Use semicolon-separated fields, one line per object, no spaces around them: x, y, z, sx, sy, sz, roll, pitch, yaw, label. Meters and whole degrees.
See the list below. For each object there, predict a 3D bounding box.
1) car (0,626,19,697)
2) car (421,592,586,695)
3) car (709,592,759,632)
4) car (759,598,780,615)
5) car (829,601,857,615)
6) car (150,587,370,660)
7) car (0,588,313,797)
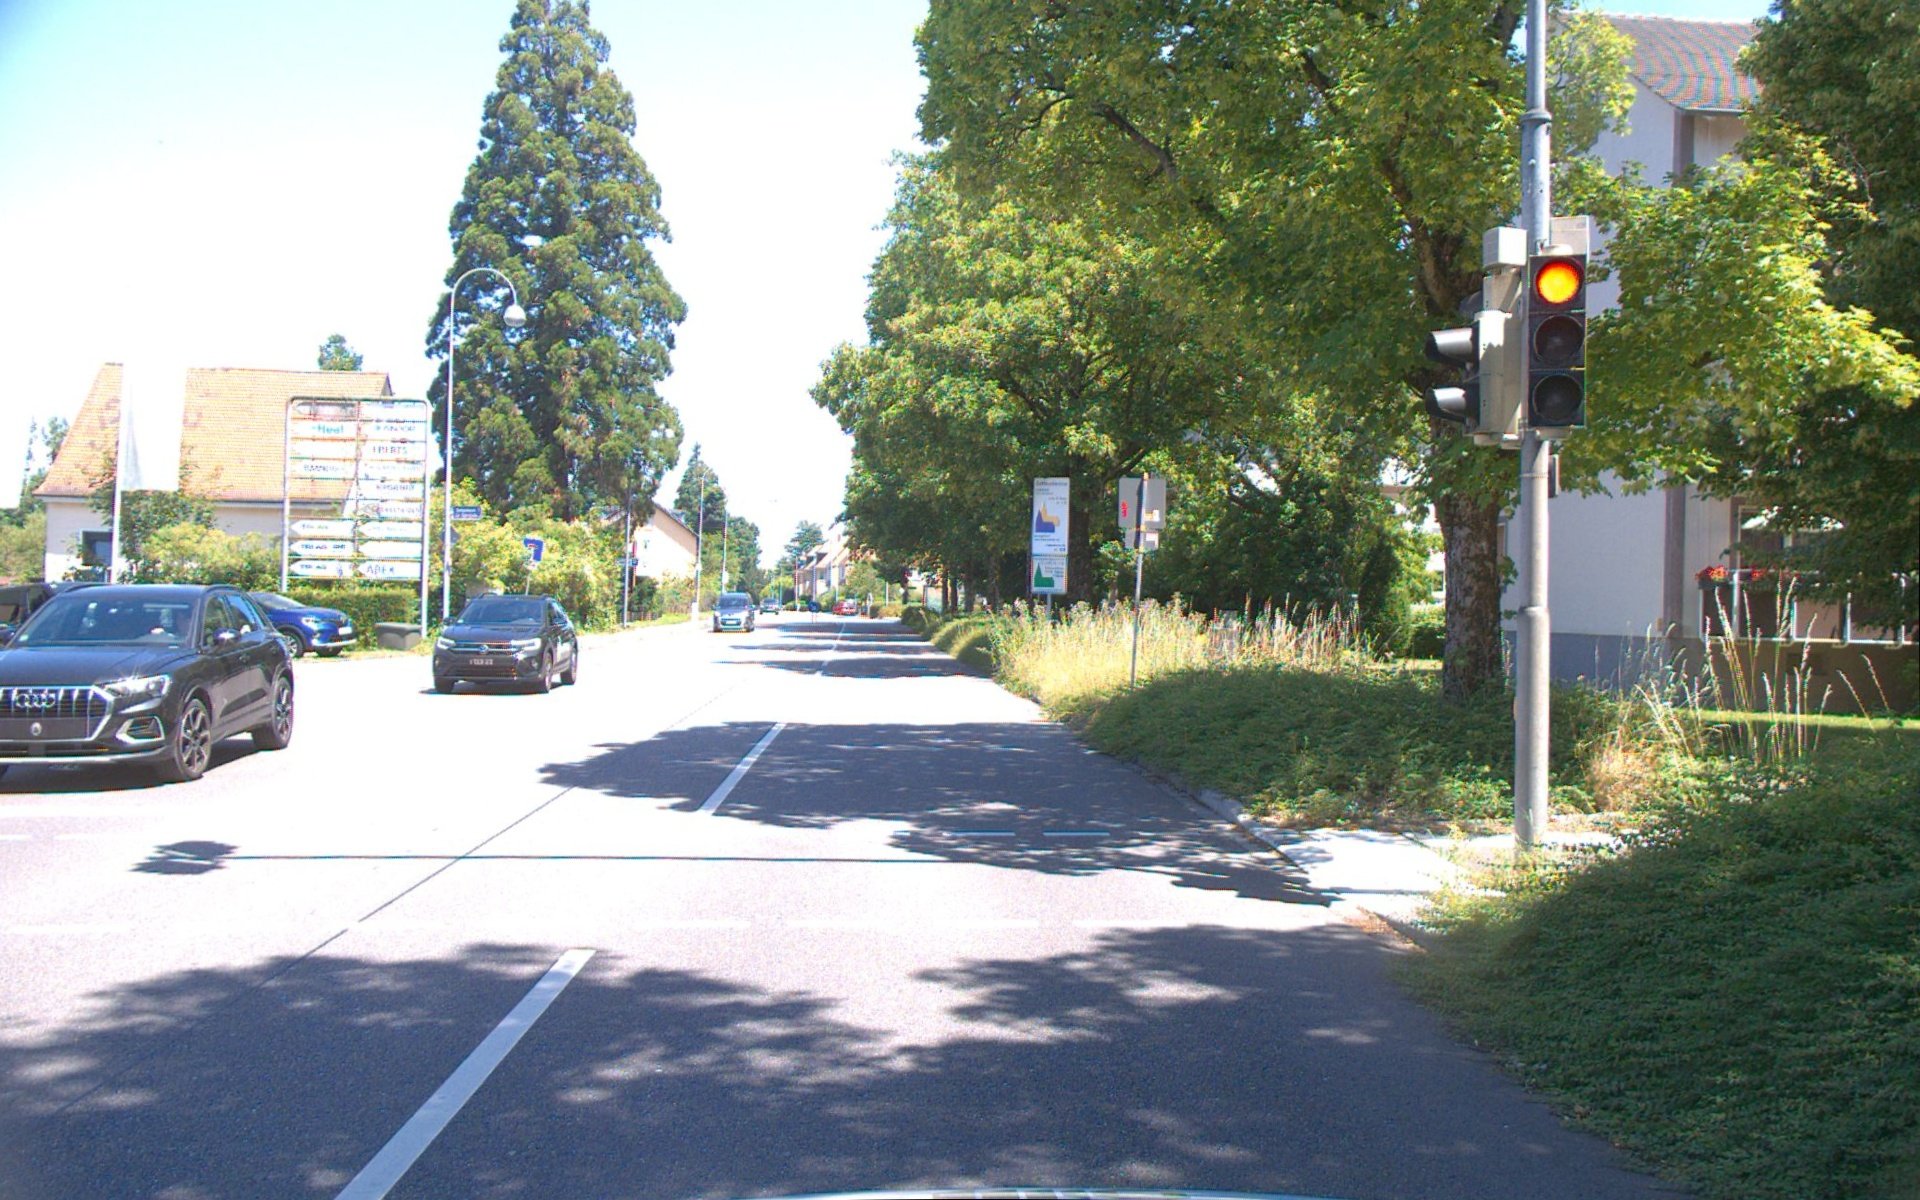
-24.630;1.537;40.087;1.775;1.752;4.081;1;0;-8;car
-7.282;0.653;26.762;1.832;1.533;4.049;0;0;-5;car
-10.528;0.525;77.421;1.774;1.793;4.569;1;0;-1;car
-18.428;0.601;159.904;1.758;1.563;4.312;1;0;-3;car
-12.533;0.844;177.423;1.914;1.383;4.439;0;0;-19;car
-15.194;0.497;36.003;4.047;1.531;1.779;0;0;8;car
-7.289;0.700;14.656;1.890;1.582;4.295;0;0;-8;car
